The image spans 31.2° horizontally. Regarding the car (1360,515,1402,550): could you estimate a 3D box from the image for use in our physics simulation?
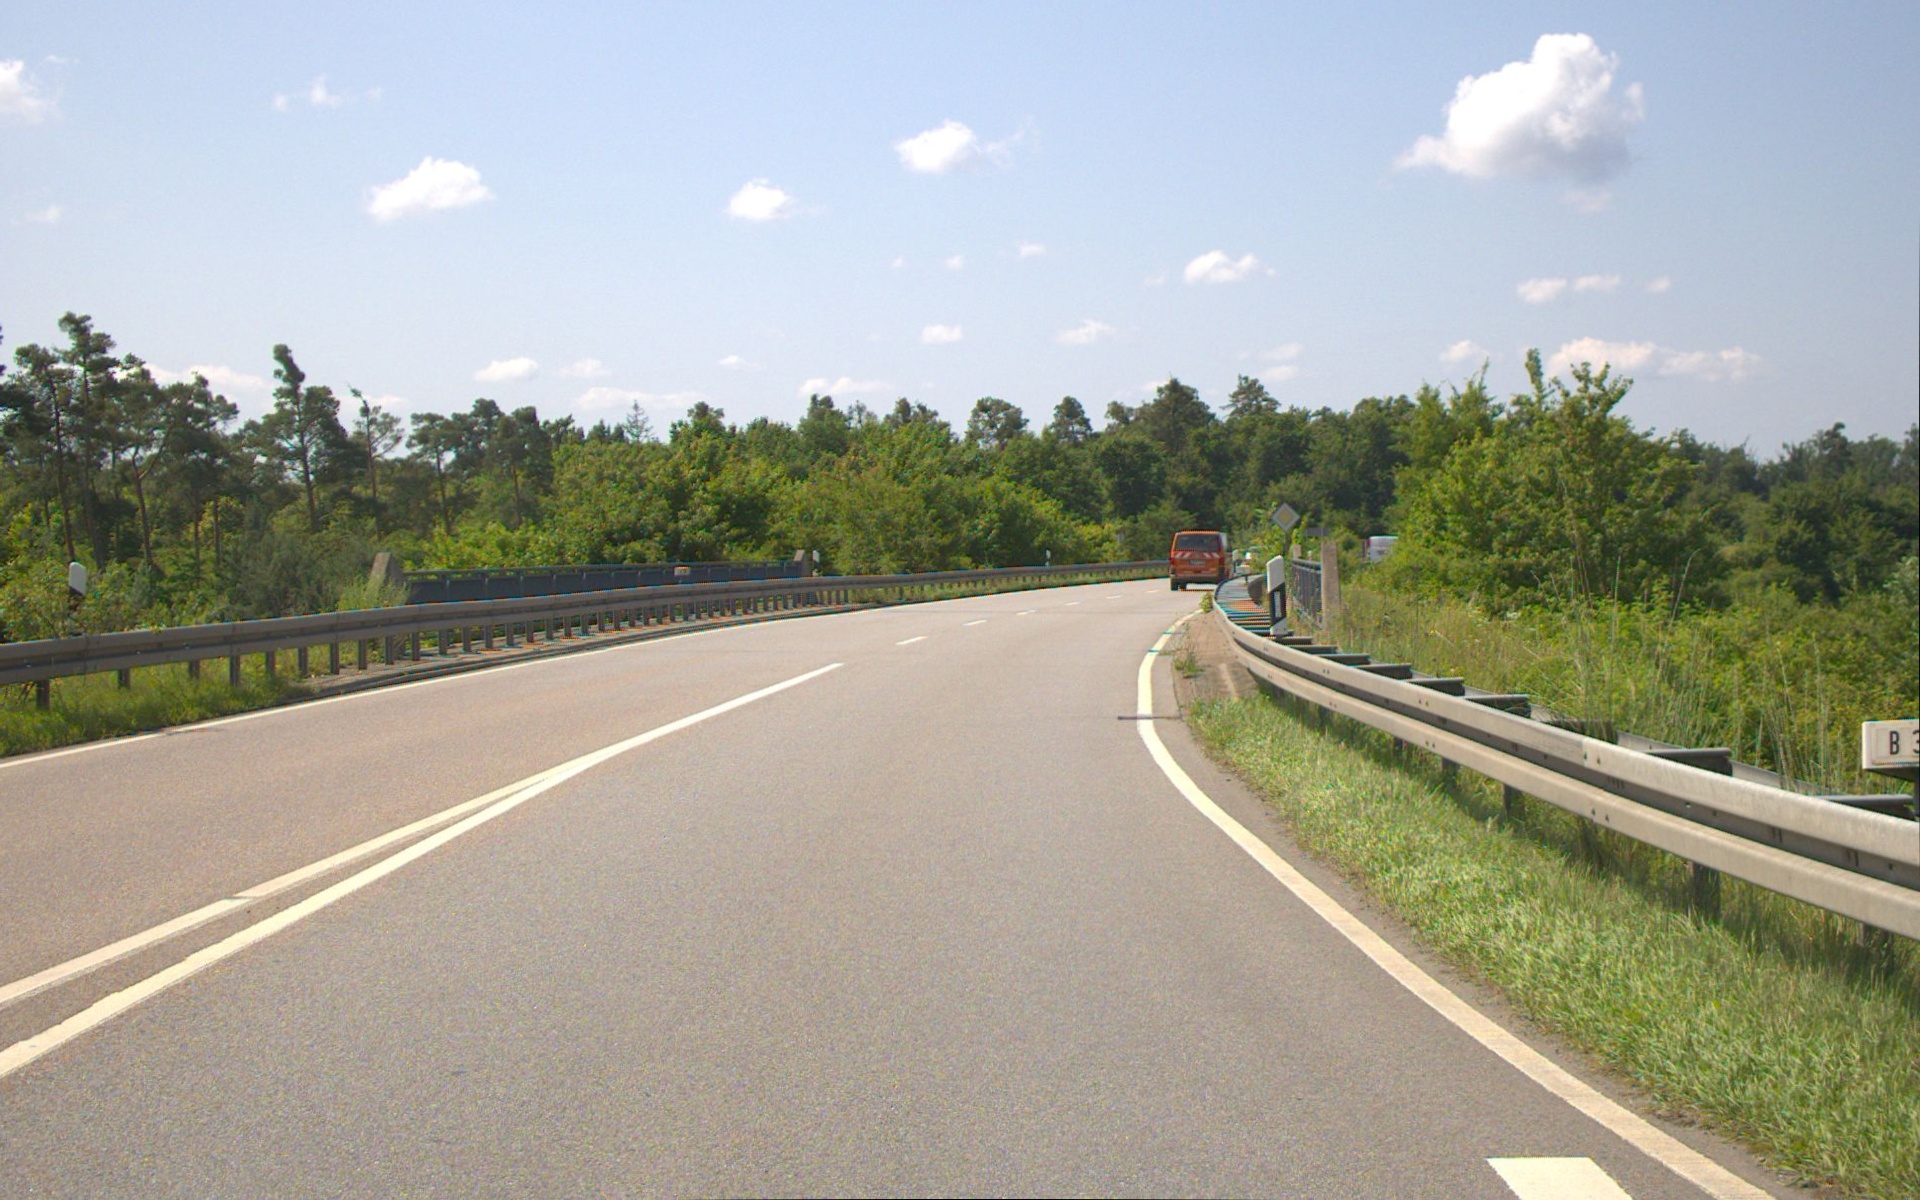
[{"bbox_3d":[23.750,-3.799,193.664,2.185,1.948,5.802,1,1,8],"label":"car"}]

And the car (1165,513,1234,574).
[{"bbox_3d":[7.975,-1.866,114.067,2.078,1.986,5.110,1,1,6],"label":"car"}]

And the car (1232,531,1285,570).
[{"bbox_3d":[11.827,-1.952,136.112,2.008,1.488,4.238,1,1,6],"label":"car"}]
